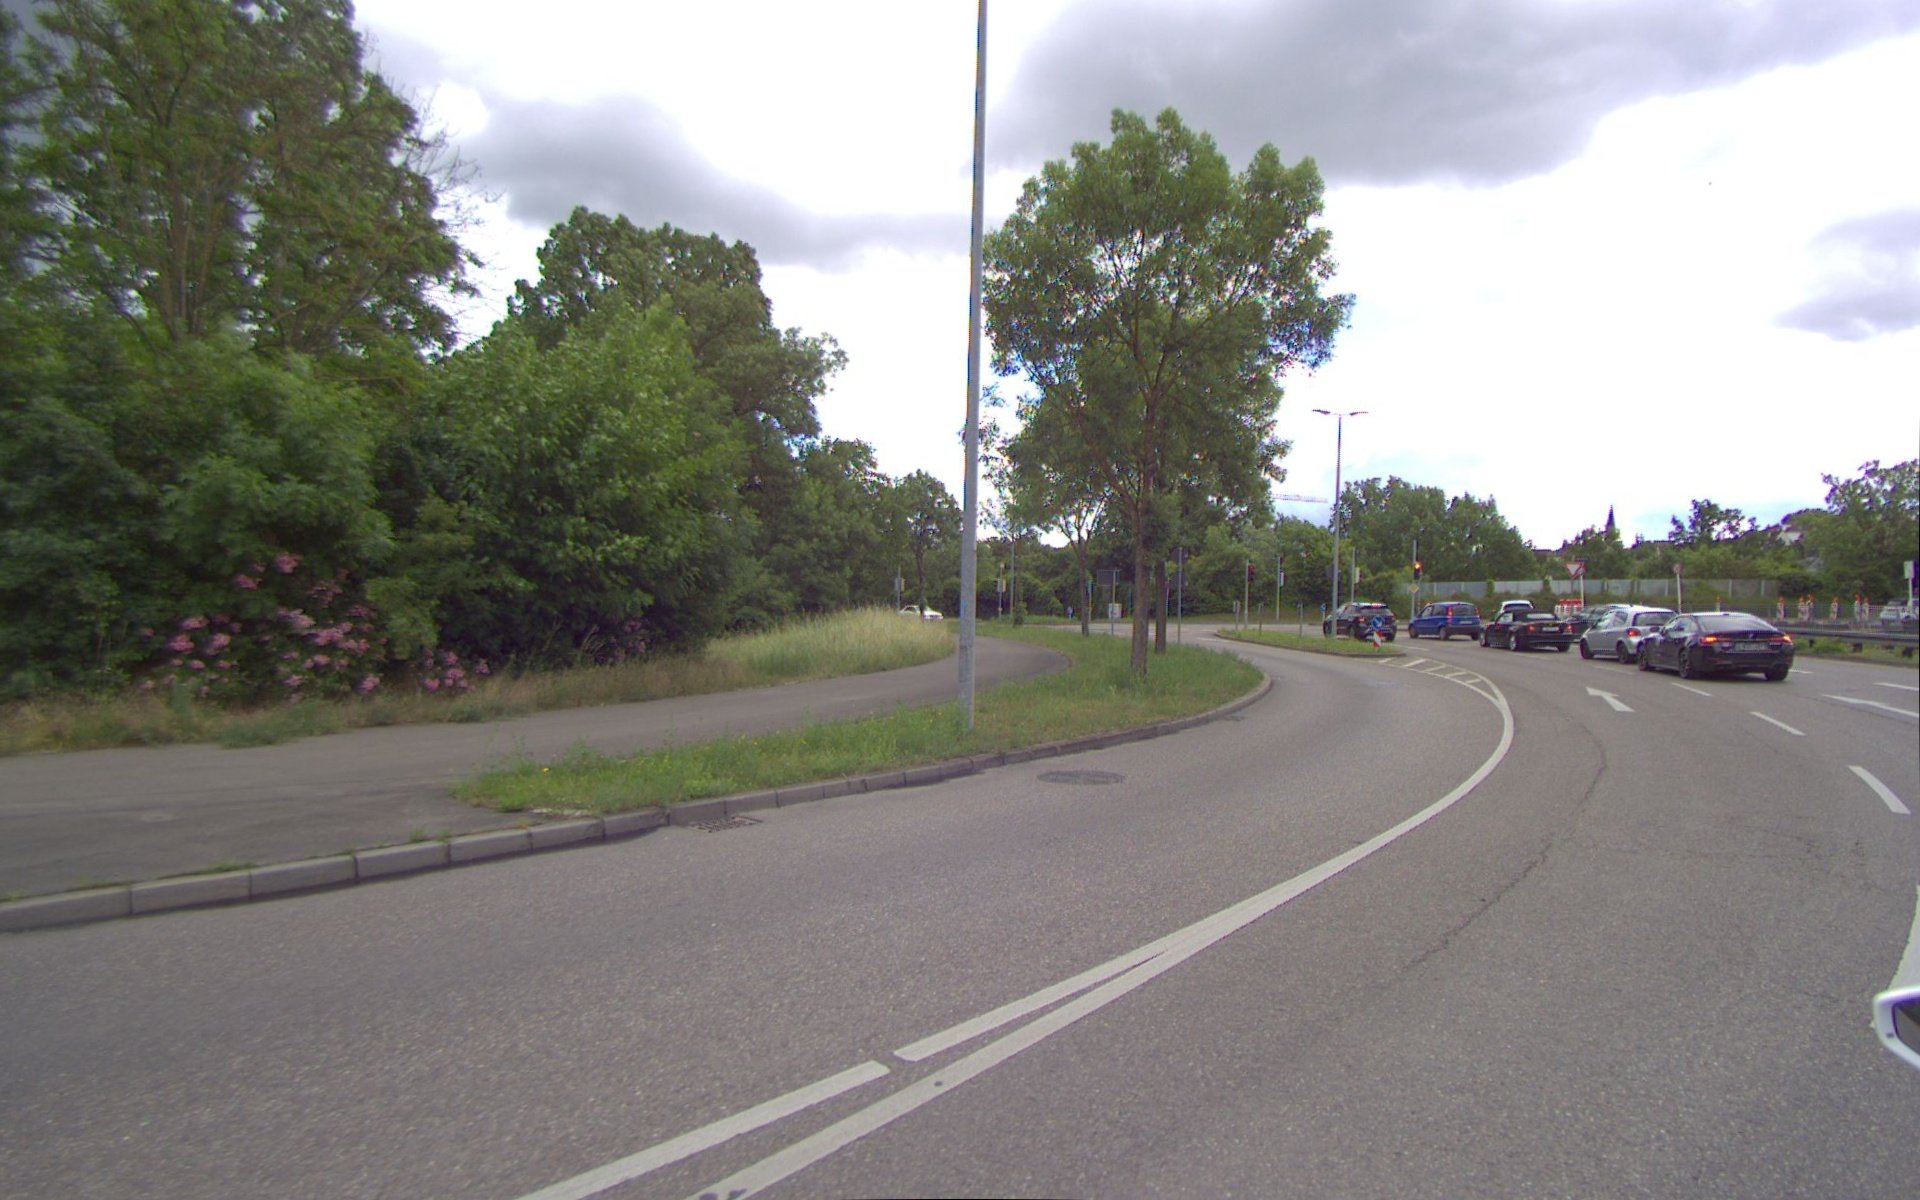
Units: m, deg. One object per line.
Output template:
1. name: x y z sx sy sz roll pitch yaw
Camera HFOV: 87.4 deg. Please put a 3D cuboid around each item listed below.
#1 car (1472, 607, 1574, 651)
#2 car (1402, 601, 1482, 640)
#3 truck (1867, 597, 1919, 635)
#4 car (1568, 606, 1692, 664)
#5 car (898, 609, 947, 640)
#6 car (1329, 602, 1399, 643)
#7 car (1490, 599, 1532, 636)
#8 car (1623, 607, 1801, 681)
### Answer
1. car: 19.375 0.968 34.756 1.537 1.386 4.086 -2 -1 6
2. car: 20.064 0.829 41.924 1.518 1.527 3.378 -1 0 -4
3. truck: 53.817 0.924 56.888 3.162 2.040 1.741 3 1 4
4. car: 19.108 0.954 28.834 1.640 1.489 3.630 -2 0 11
5. car: -2.911 1.870 77.631 1.914 2.021 4.285 2 1 -31
6. car: 16.805 0.906 41.965 1.628 1.527 3.771 -2 0 5
7. car: 26.804 0.875 48.801 1.686 1.697 3.993 1 -1 30
8. car: 17.435 0.959 23.599 1.842 1.496 4.964 -1 0 19
